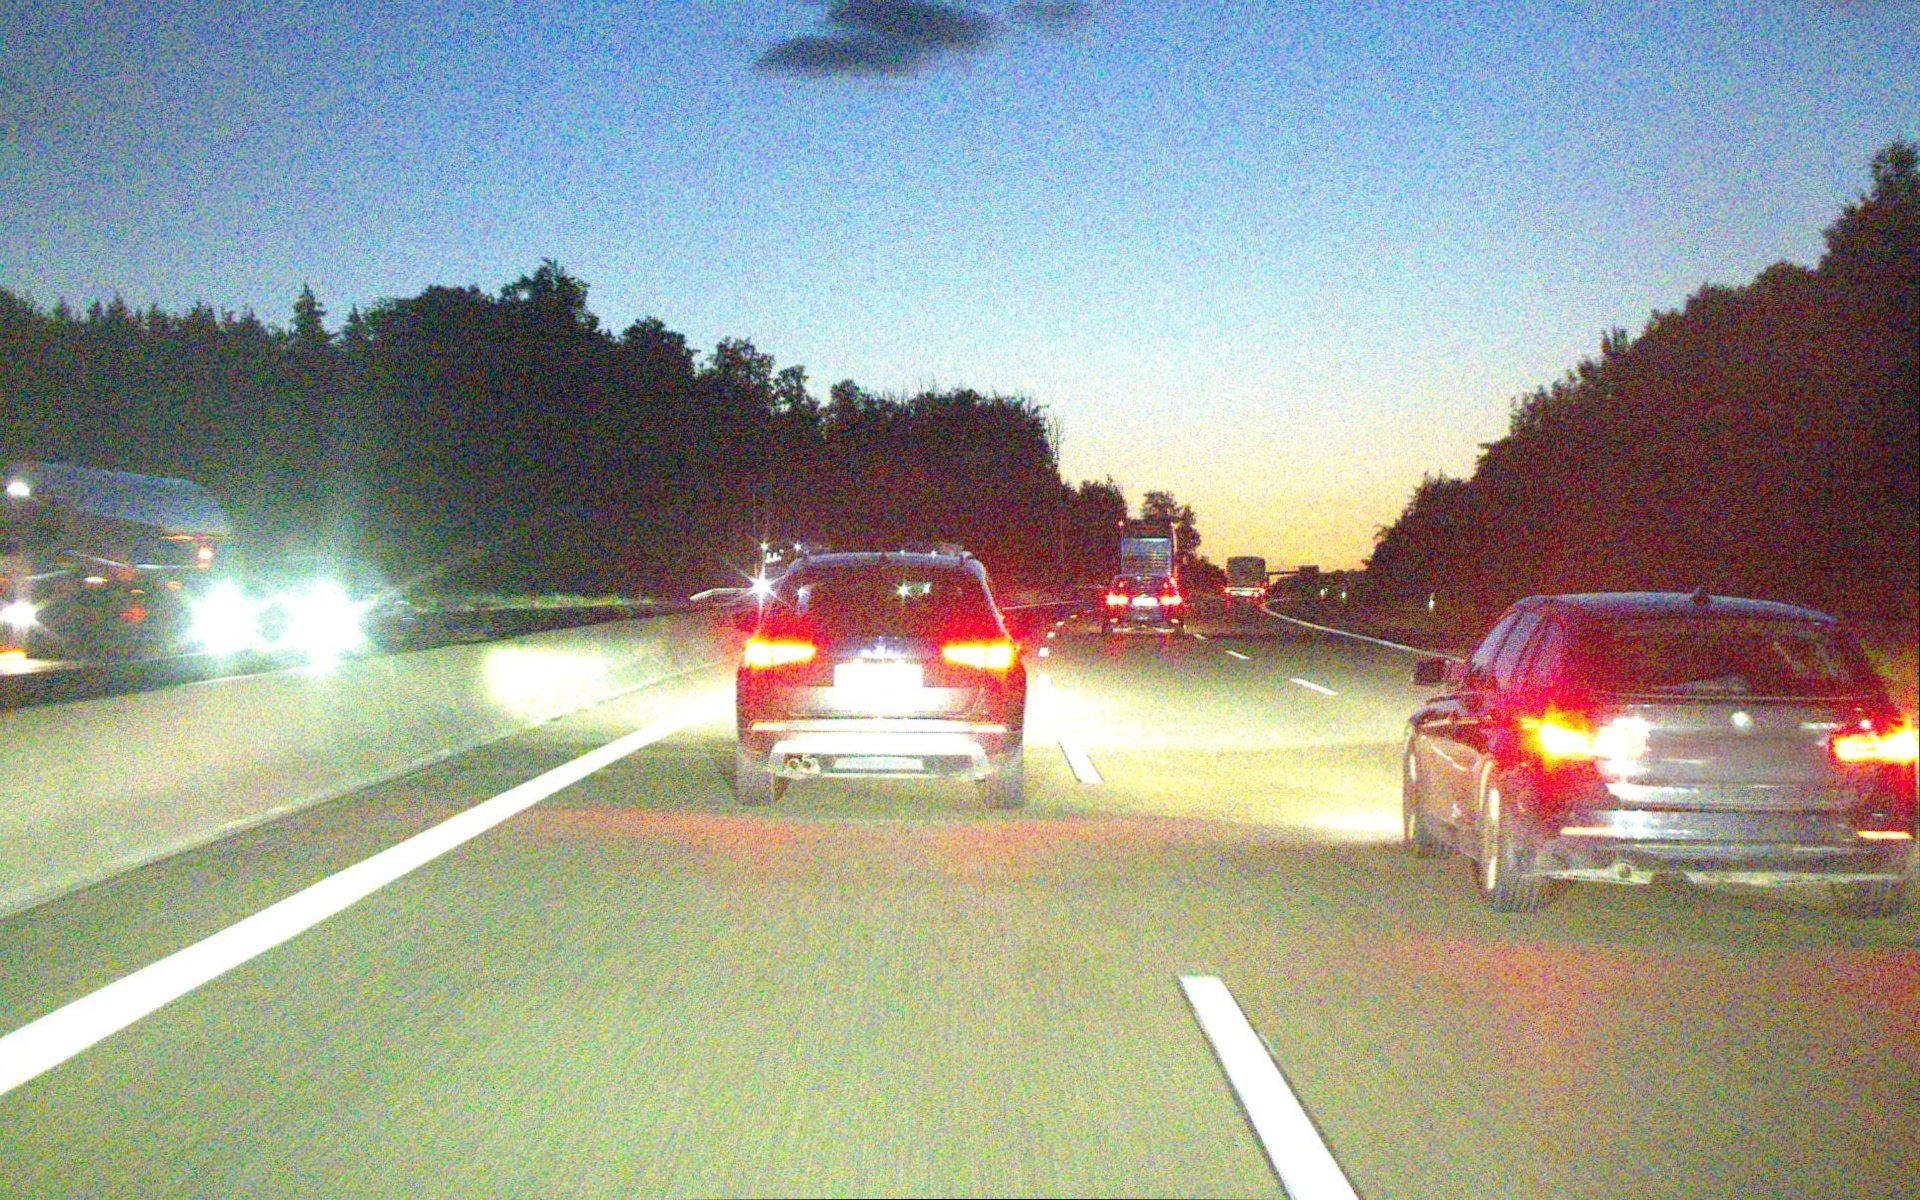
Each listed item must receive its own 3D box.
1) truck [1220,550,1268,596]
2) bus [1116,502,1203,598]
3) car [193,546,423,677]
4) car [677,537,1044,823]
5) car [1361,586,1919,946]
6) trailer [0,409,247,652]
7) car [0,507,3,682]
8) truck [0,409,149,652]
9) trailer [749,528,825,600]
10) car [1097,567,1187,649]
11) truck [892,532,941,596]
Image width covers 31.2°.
[{"bbox_3d":[19.318,-1.843,234.471,2.546,3.006,9.053,1,0,1],"label":"truck"},{"bbox_3d":[9.587,-2.278,163.640,2.653,3.981,14.695,-2,-1,9],"label":"bus"},{"bbox_3d":[-8.552,0.123,45.483,2.065,1.617,4.695,1,0,1],"label":"car"},{"bbox_3d":[-0.634,0.428,22.178,2.105,1.612,4.205,1,1,-2],"label":"car"},{"bbox_3d":[3.164,0.659,16.386,1.835,1.396,5.069,1,1,-1],"label":"car"},{"bbox_3d":[-16.686,-1.203,63.942,3.437,3.993,14.759,1,0,1],"label":"trailer"},{"bbox_3d":[-13.058,-0.042,39.744,2.052,2.190,6.967,0,1,0],"label":"car"},{"bbox_3d":[-16.771,-1.185,59.968,3.437,3.993,6.775,1,0,1],"label":"truck"},{"bbox_3d":[-9.148,-1.904,182.645,3.058,3.676,7.228,1,0,4],"label":"trailer"},{"bbox_3d":[4.138,0.201,78.542,1.911,1.724,3.999,3,-1,3],"label":"car"},{"bbox_3d":[-3.040,-2.506,243.899,2.853,4.418,6.395,1,0,4],"label":"truck"}]
